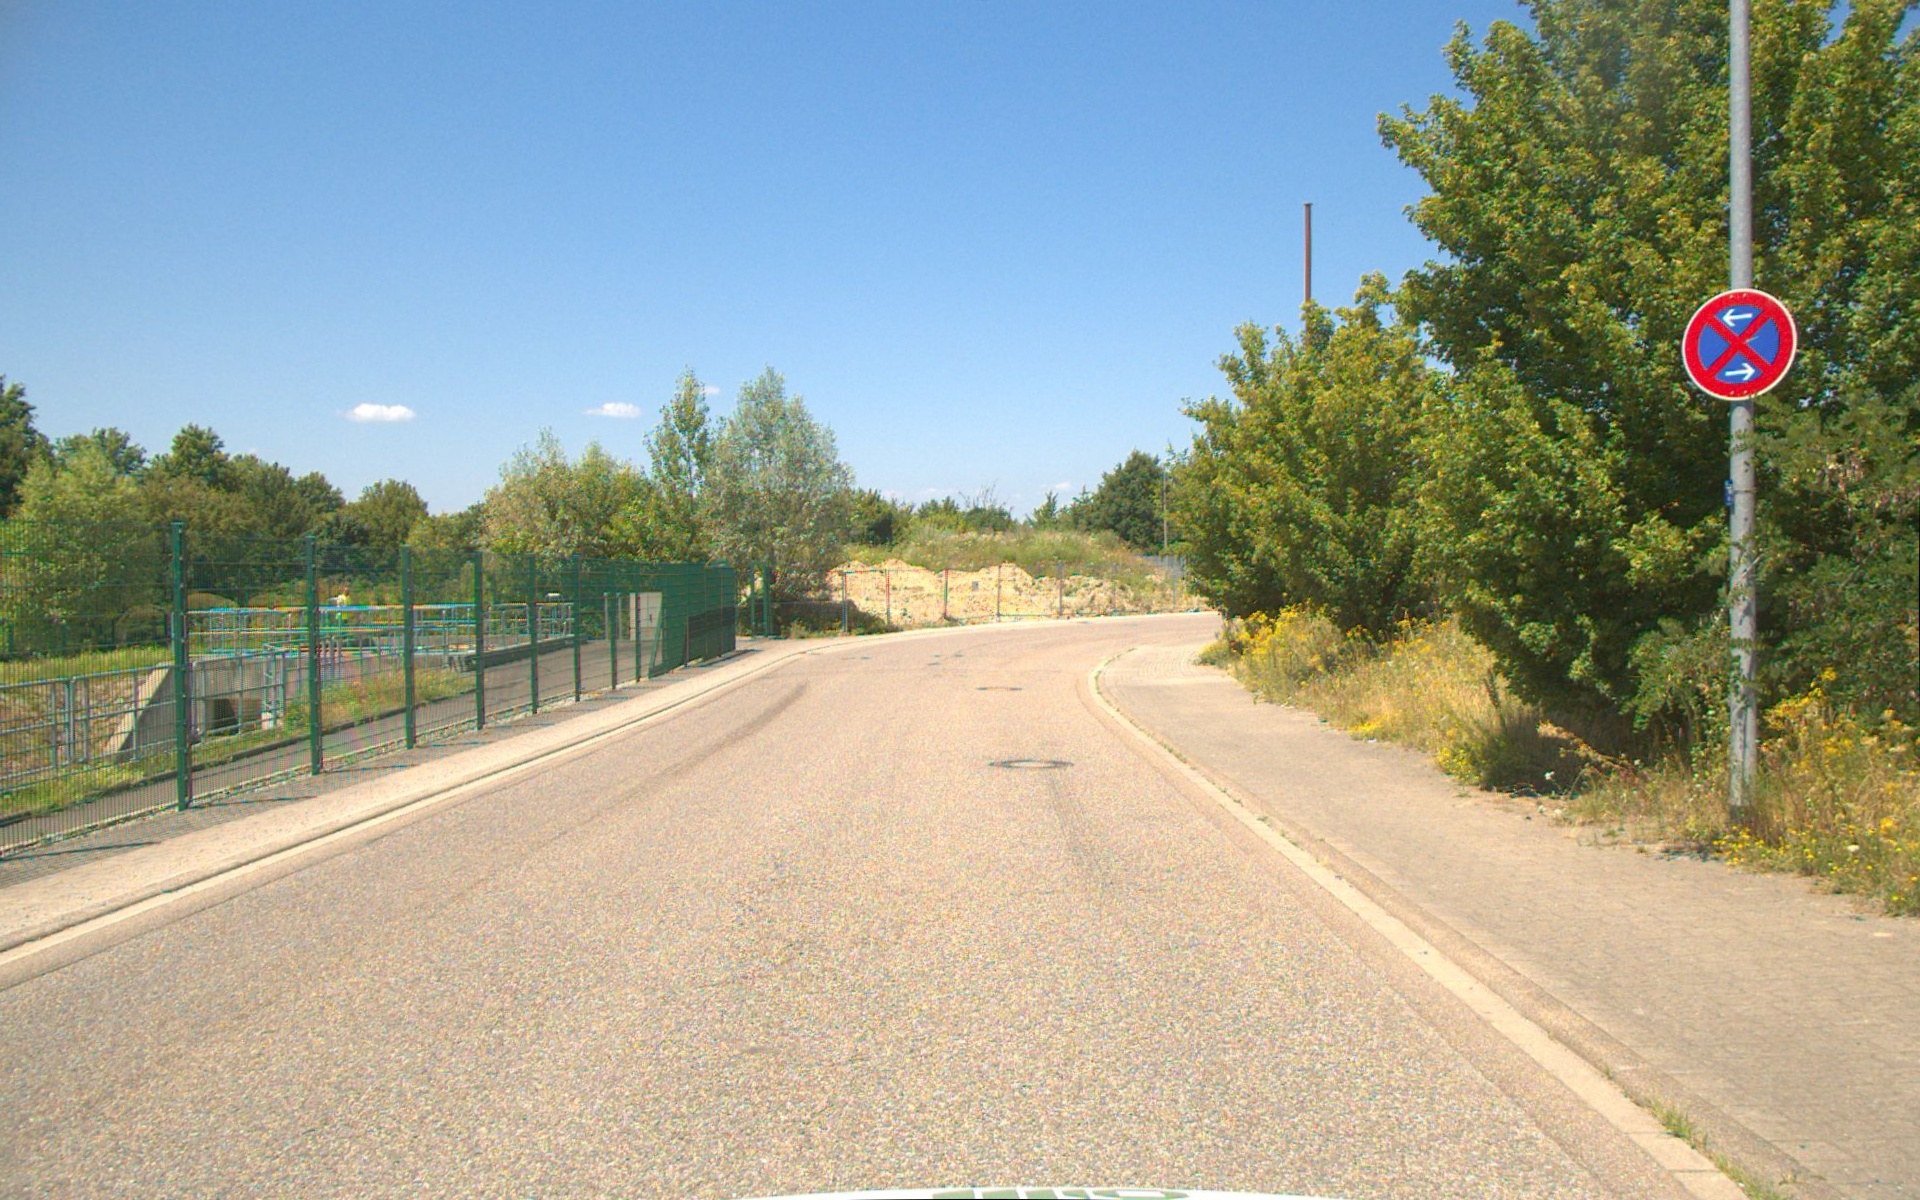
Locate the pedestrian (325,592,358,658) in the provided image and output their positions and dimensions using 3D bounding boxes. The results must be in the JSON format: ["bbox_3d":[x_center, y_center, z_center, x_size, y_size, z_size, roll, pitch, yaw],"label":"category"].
[{"bbox_3d":[-18.143,0.722,48.534,0.593,1.871,0.805,-2,1,-1],"label":"pedestrian"}]
